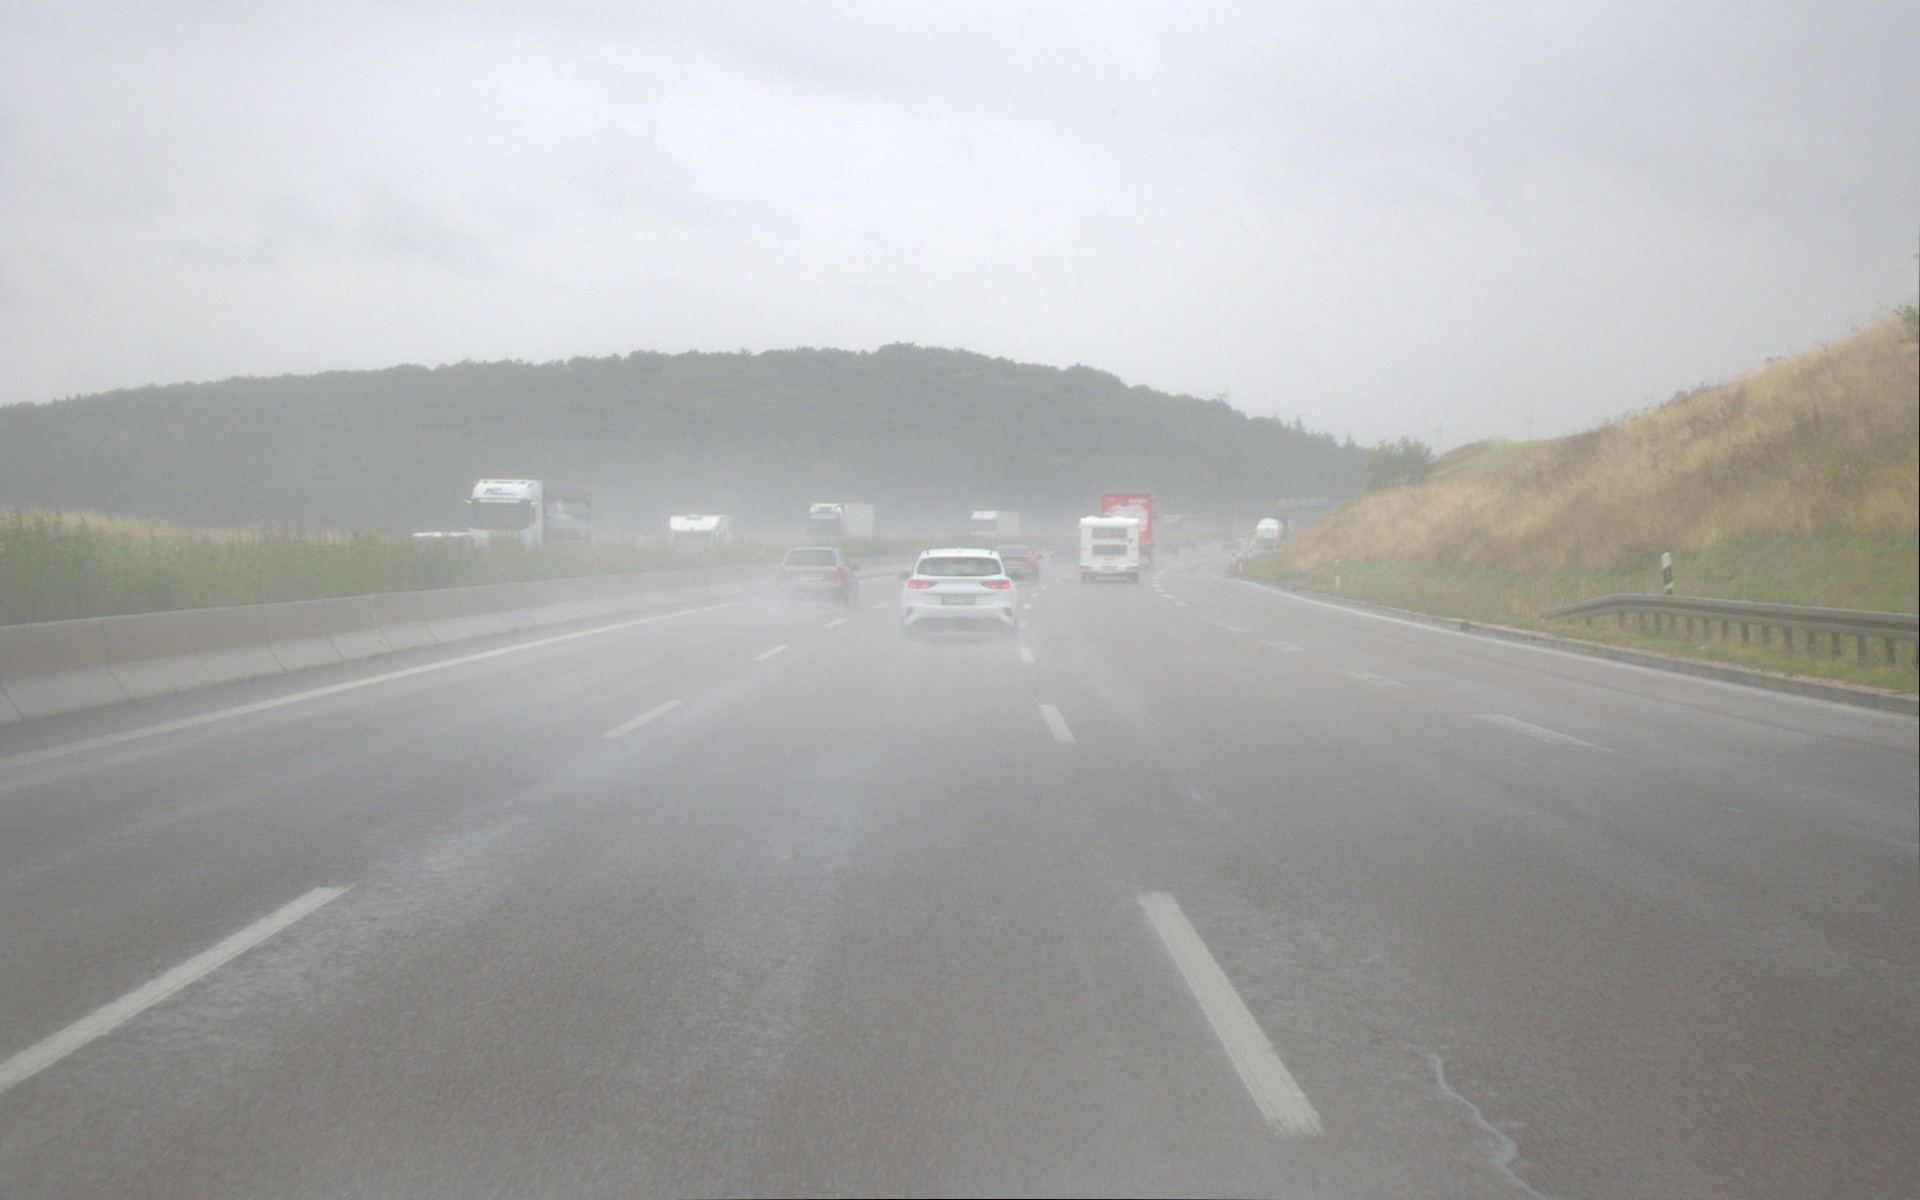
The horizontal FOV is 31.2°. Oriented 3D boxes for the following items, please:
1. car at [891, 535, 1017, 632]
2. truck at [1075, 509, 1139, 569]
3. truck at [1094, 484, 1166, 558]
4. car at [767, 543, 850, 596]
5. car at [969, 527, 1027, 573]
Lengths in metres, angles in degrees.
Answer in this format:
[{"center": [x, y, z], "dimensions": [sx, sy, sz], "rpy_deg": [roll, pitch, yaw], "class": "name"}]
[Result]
[{"center": [-0.134, -0.261, 54.143], "dimensions": [1.867, 1.458, 4.000], "rpy_deg": [0, 0, -2], "class": "car"}, {"center": [5.669, -2.344, 132.326], "dimensions": [2.408, 2.244, 4.693], "rpy_deg": [0, 1, 3], "class": "truck"}, {"center": [8.911, -4.243, 181.687], "dimensions": [3.527, 3.730, 11.426], "rpy_deg": [1, 2, 2], "class": "truck"}, {"center": [-3.529, -0.692, 79.530], "dimensions": [1.823, 1.152, 4.213], "rpy_deg": [1, 0, -4], "class": "car"}, {"center": [1.355, -1.774, 121.552], "dimensions": [1.993, 1.612, 4.000], "rpy_deg": [0, 1, 1], "class": "car"}]
